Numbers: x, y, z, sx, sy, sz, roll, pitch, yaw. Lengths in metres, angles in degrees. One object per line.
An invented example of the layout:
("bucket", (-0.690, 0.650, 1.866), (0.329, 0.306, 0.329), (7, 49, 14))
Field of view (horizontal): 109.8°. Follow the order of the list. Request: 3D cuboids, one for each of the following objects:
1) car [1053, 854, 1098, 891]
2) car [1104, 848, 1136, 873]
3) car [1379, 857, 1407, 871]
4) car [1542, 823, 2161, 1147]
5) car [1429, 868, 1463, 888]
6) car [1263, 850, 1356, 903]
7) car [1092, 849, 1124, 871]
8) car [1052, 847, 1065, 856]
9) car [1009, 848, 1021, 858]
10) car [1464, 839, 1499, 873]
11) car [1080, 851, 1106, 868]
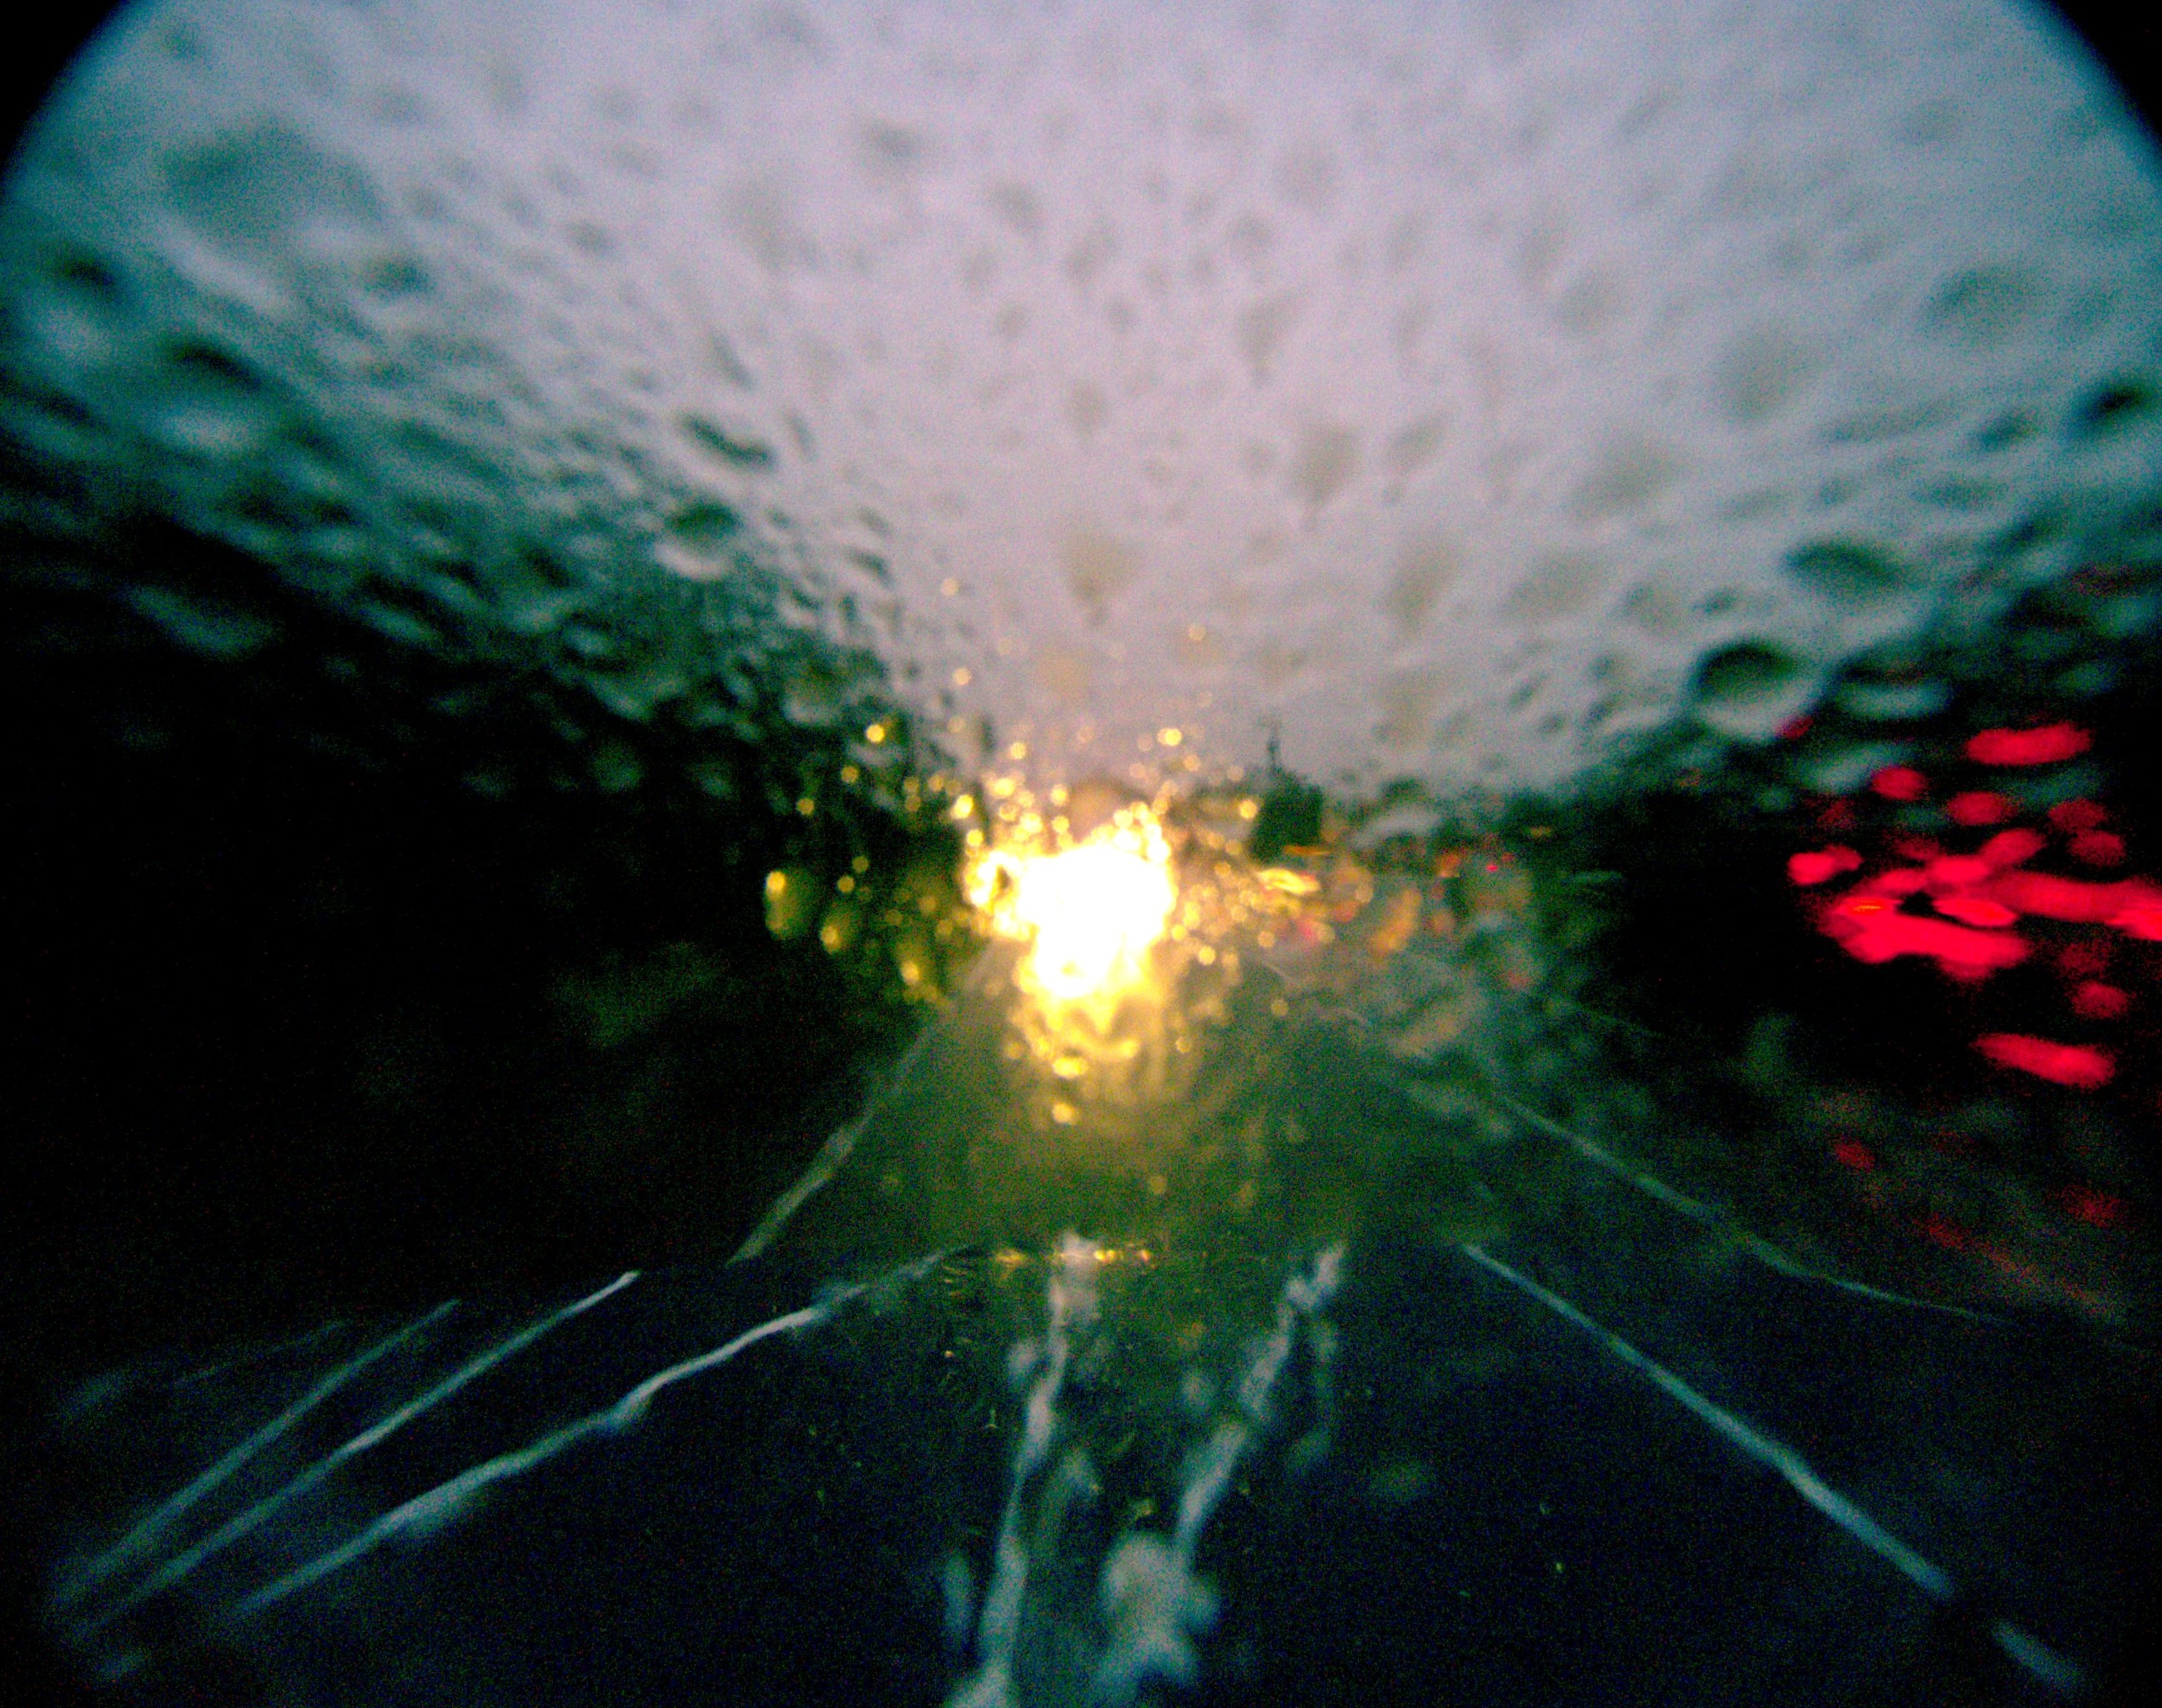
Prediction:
("car", (-0.309, 0.781, 34.154), (1.850, 1.429, 4.242), (-1, 2, -3))
("car", (2.632, 0.404, 52.121), (1.717, 1.617, 4.216), (-2, 1, -4))
("car", (43.514, 1.345, 106.039), (1.955, 1.746, 4.810), (-3, 1, 2))
("car", (6.081, 0.644, 6.201), (1.907, 1.638, 4.728), (-2, 0, 2))
("car", (39.499, 2.592, 82.445), (1.954, 1.746, 4.813), (-3, 1, 9))
("car", (7.013, 0.660, 23.731), (1.827, 1.514, 4.300), (0, -1, 3))
("car", (2.080, 0.437, 59.997), (2.011, 1.547, 4.514), (-2, 1, -4))
("car", (-3.947, -0.426, 130.996), (1.651, 1.547, 4.376), (-1, 1, -10))
("car", (-11.886, -0.205, 136.354), (1.703, 1.721, 3.995), (-2, 2, -9))
("car", (25.116, 0.075, 47.582), (1.839, 1.958, 4.365), (-2, 1, 29))
("car", (1.072, 0.515, 70.222), (1.637, 1.413, 4.167), (-2, 2, -9))
